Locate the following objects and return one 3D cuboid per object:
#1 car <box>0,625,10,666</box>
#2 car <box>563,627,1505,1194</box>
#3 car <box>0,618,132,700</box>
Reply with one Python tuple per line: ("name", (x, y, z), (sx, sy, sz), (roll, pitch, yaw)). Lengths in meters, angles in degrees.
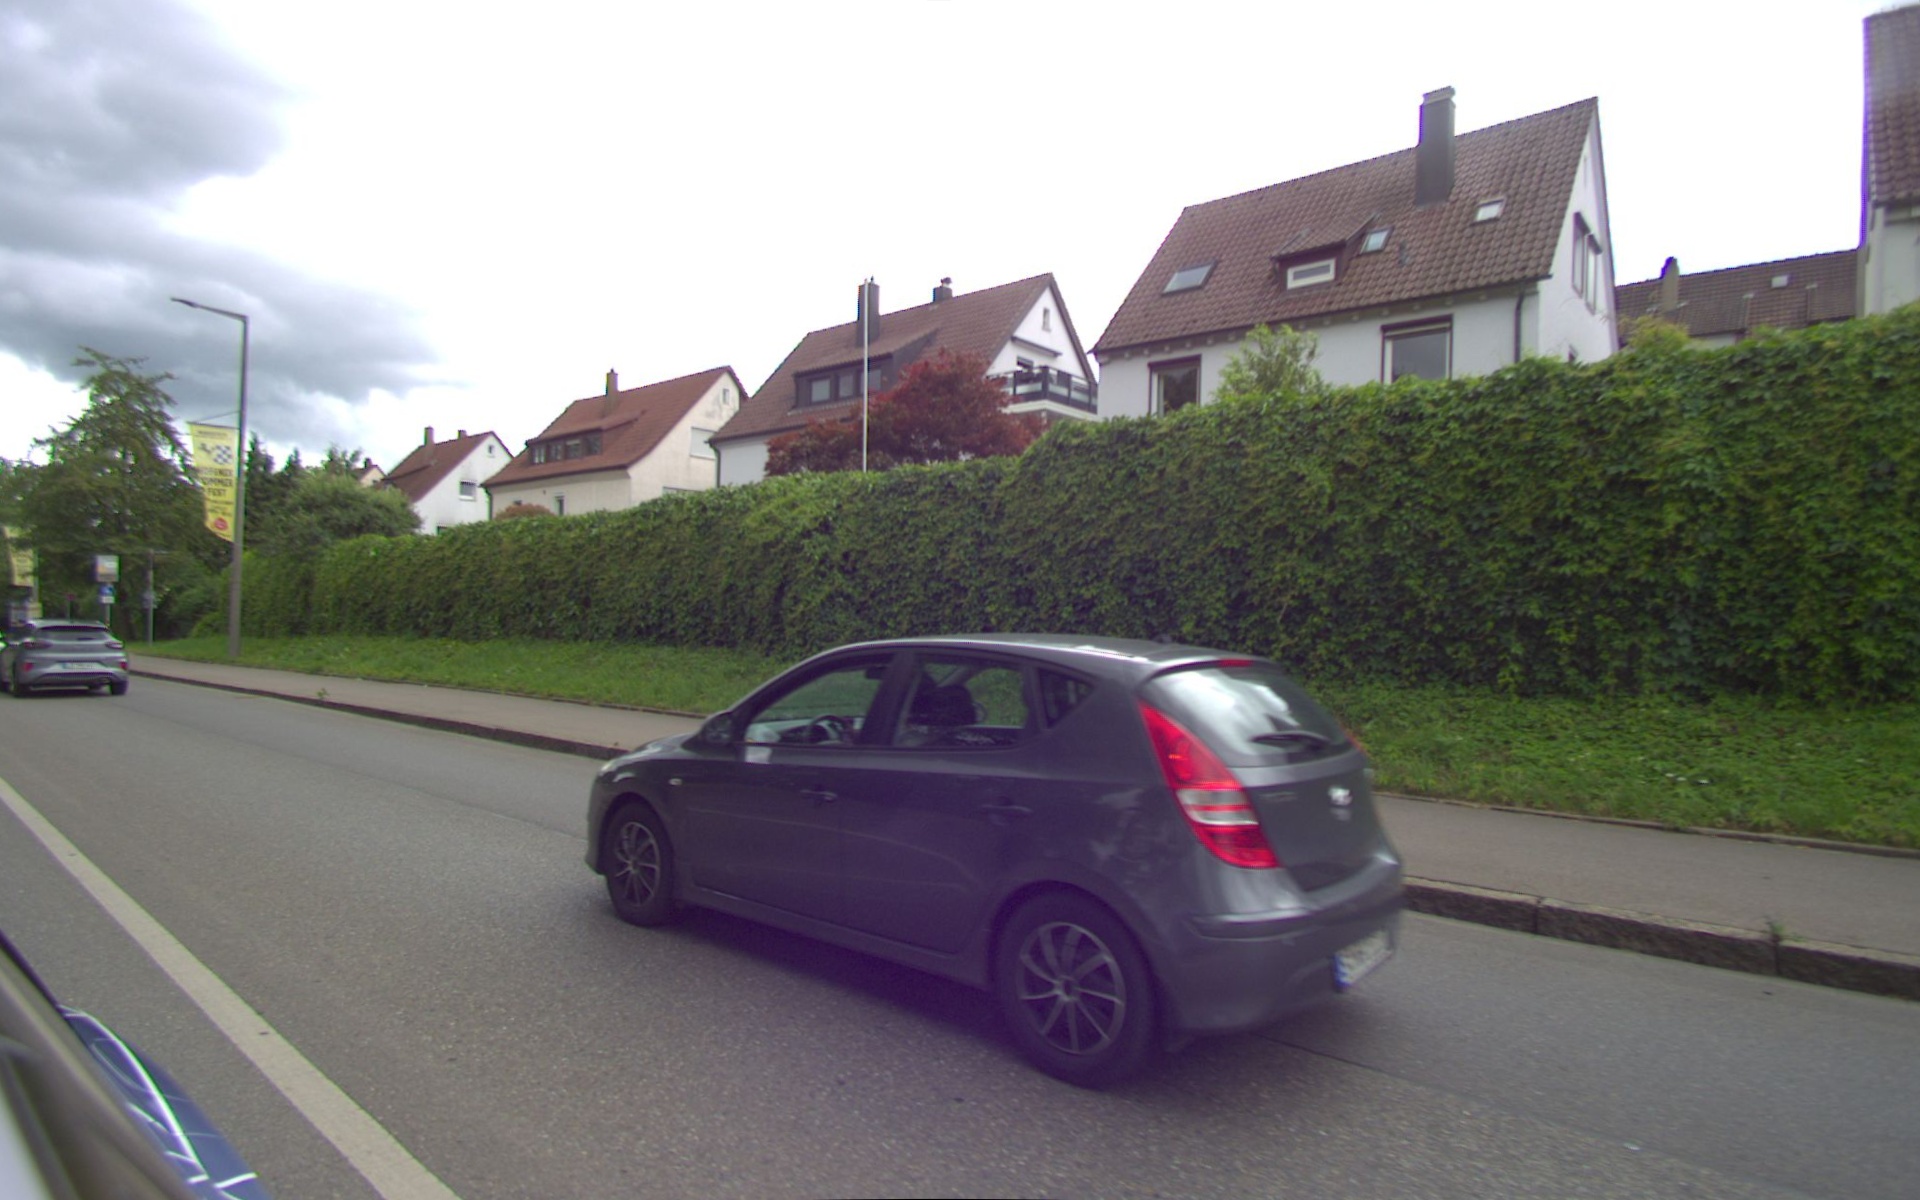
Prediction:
("car", (-35.026, 1.566, 35.538), (4.487, 1.394, 1.867), (-1, -3, 40))
("car", (0.014, 0.882, 4.689), (4.151, 1.475, 1.710), (-1, -3, 41))
("car", (-18.758, 1.176, 20.994), (3.997, 1.530, 1.733), (-1, -3, 40))
